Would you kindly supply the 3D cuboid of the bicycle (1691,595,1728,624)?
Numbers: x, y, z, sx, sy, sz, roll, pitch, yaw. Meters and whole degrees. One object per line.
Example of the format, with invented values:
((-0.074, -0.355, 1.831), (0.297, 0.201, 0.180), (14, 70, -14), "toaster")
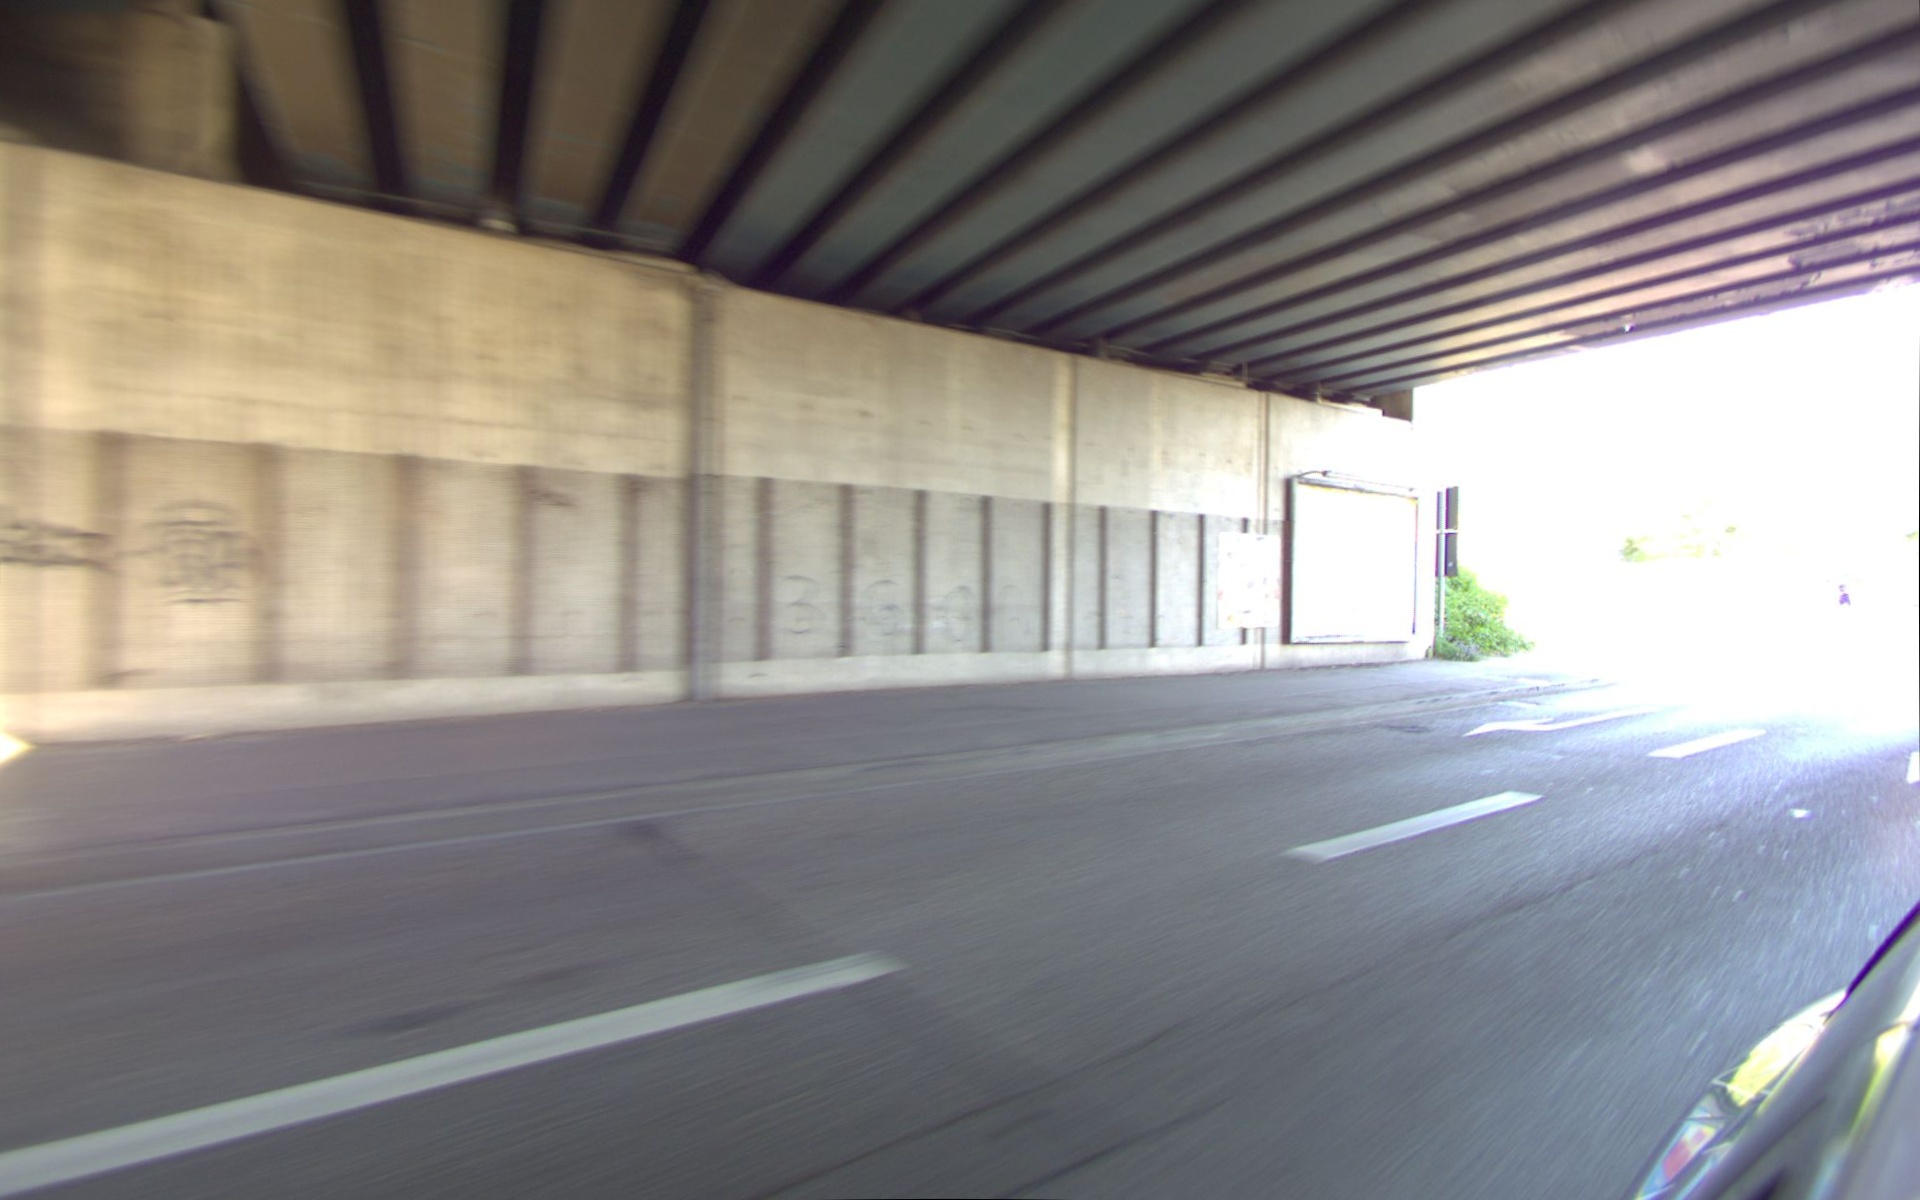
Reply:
((29.701, 0.364, 40.159), (0.775, 1.071, 2.472), (-1, 0, 28), "bicycle")

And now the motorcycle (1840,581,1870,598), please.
((56.619, -0.666, 64.005), (2.308, 1.059, 0.811), (-1, 0, -34), "motorcycle")

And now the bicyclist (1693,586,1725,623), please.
((29.703, 0.170, 40.161), (0.836, 1.439, 1.103), (-1, 0, 28), "bicyclist")

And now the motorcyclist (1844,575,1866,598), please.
((56.646, -0.865, 64.043), (0.861, 1.460, 0.840), (-1, -1, -33), "motorcyclist")
